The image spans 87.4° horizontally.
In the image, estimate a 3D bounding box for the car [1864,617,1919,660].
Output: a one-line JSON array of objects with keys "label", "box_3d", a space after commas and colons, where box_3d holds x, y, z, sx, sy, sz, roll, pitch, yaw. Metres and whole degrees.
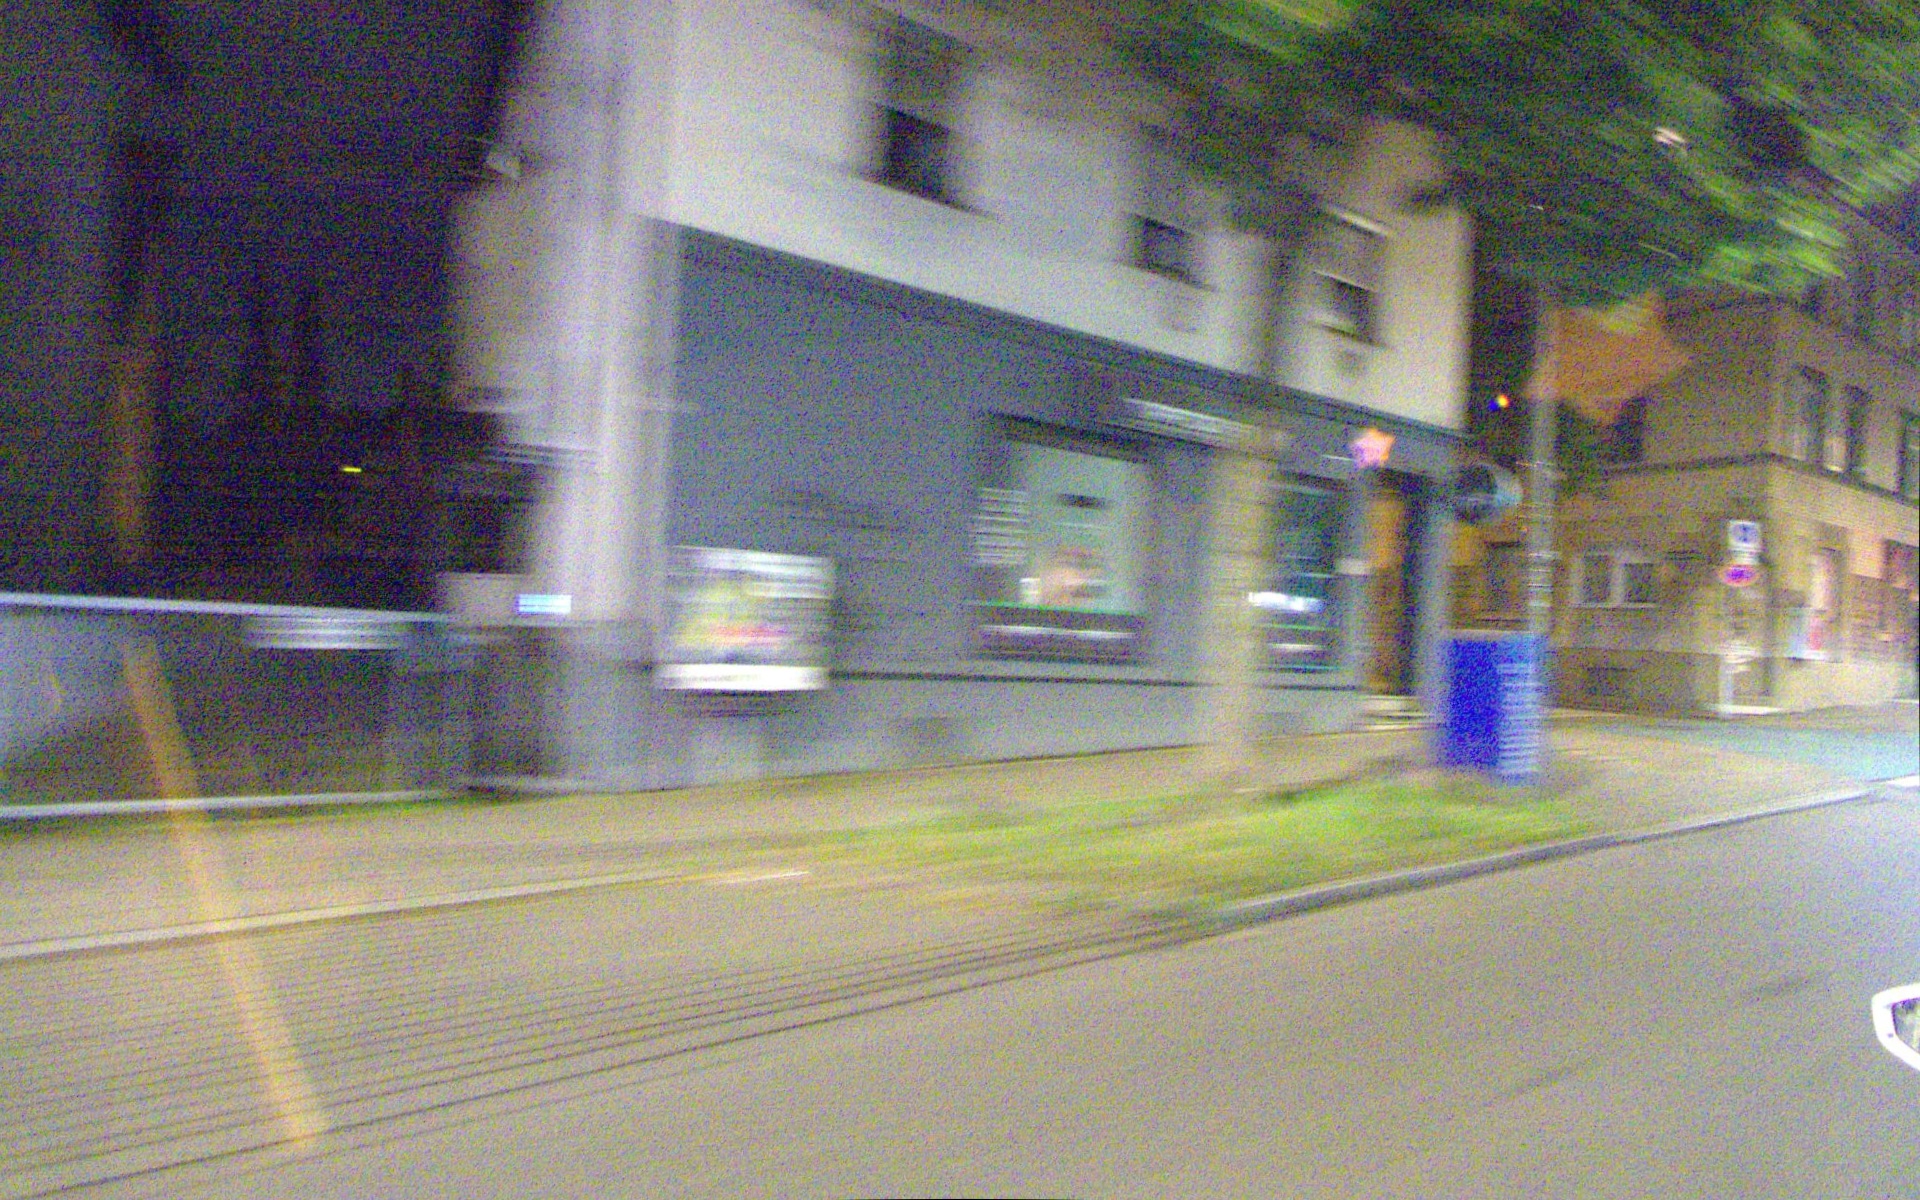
[{"label": "car", "box_3d": [39.218, 1.602, 41.476, 4.143, 1.558, 1.746, 2, 2, -33]}]

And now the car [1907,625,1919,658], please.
[{"label": "car", "box_3d": [43.742, 1.942, 43.185, 1.736, 1.444, 3.979, 2, 2, -22]}]
